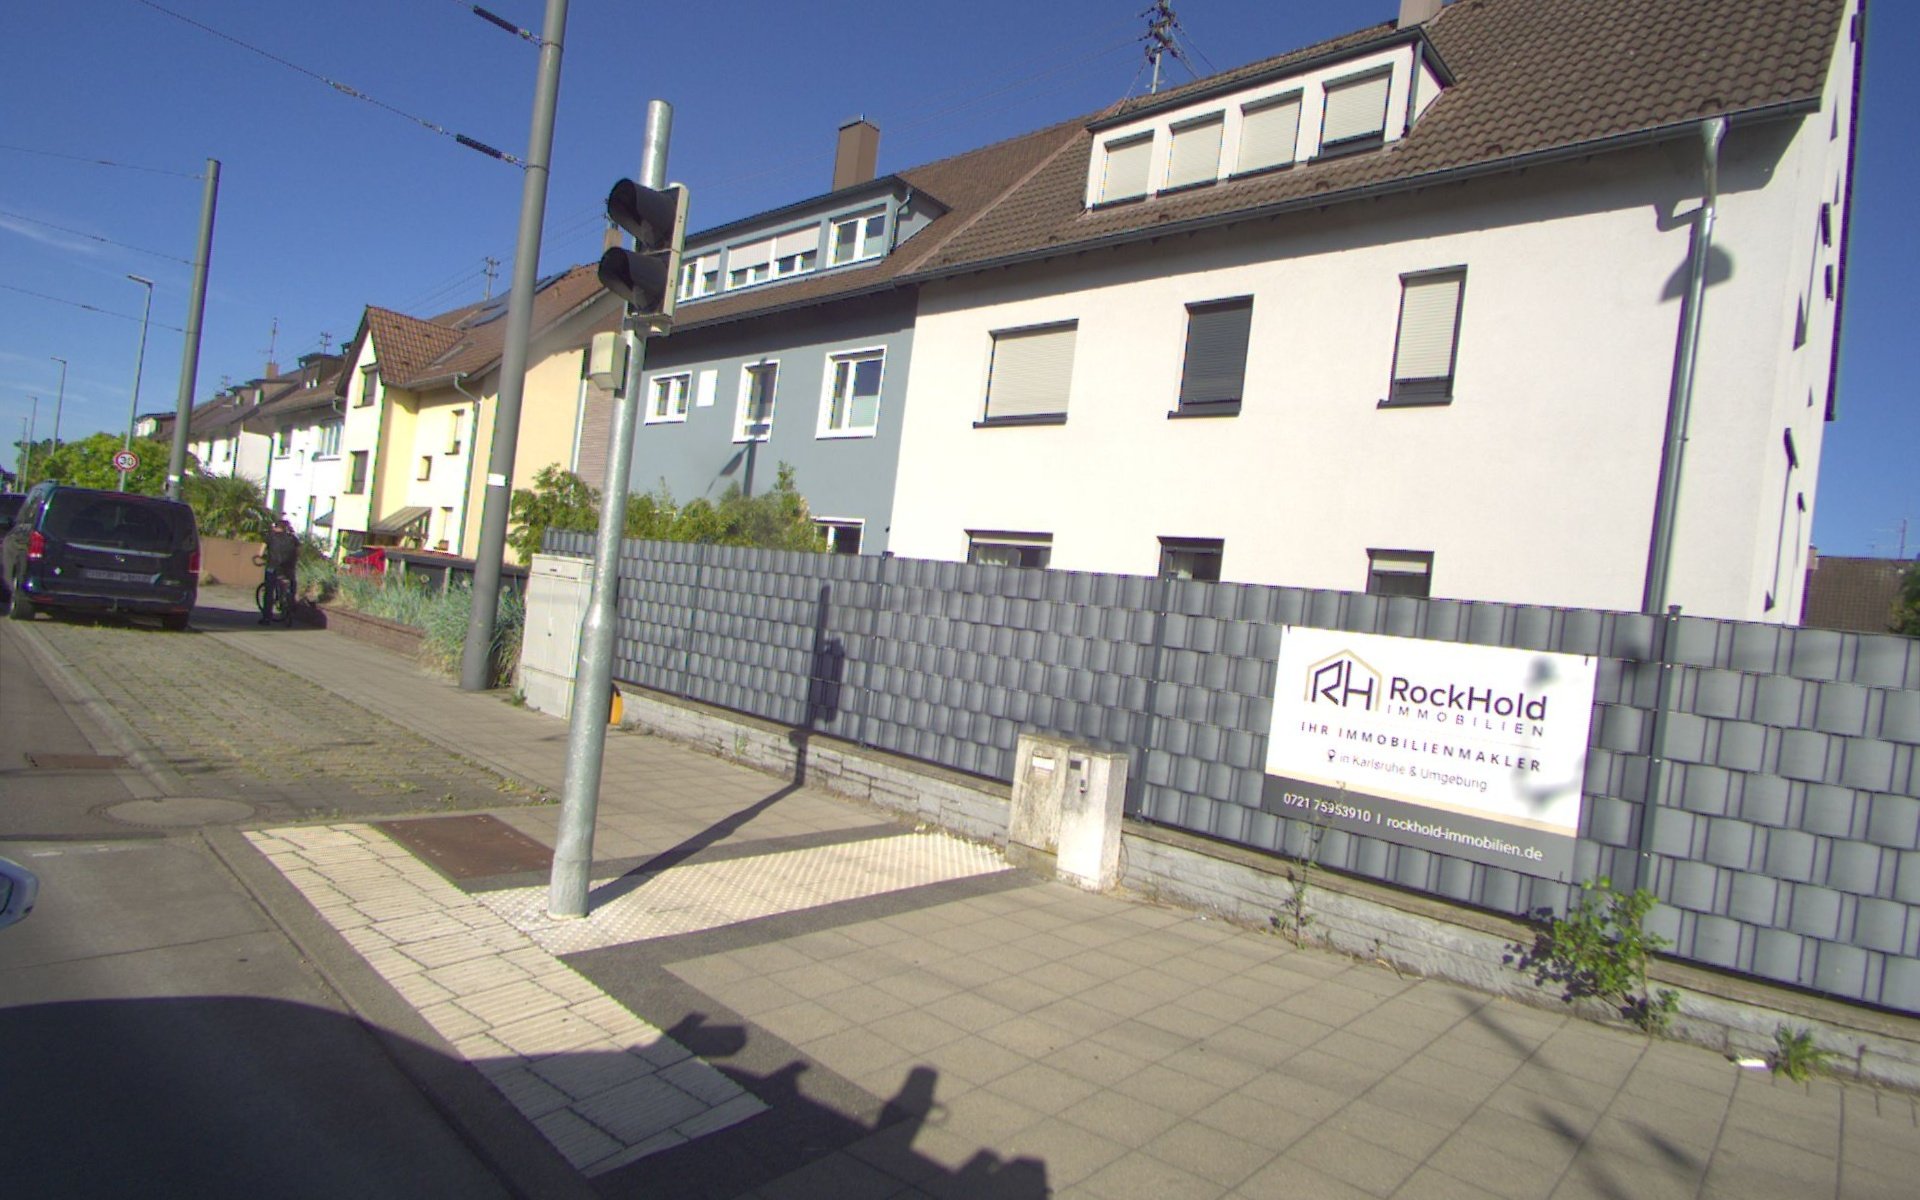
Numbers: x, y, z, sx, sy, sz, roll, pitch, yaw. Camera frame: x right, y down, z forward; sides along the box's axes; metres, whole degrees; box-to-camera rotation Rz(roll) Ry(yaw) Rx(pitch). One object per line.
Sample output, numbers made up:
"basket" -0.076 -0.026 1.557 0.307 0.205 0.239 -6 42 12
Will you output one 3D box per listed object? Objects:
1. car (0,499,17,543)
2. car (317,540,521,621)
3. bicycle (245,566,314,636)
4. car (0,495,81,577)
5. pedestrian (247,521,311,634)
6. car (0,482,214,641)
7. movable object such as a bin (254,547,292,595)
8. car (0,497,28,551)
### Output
"car" -35.042 -2.953 35.873 4.389 1.493 1.613 6 -1 42
"car" -13.853 -0.478 25.953 1.874 1.485 4.159 8 0 42
"bicycle" -11.073 -0.001 16.345 0.599 0.992 1.542 5 0 -45
"car" -22.800 -1.634 24.269 4.413 1.679 1.851 6 -1 43
"pedestrian" -11.113 -0.368 16.419 0.705 1.744 0.581 7 0 44
"car" -12.924 -0.640 14.981 4.861 1.858 1.958 6 -1 43
"movable object such as a bin" -17.149 -0.715 25.115 0.313 1.128 0.667 7 1 43
"car" -30.458 -2.487 31.495 3.786 1.567 1.661 6 1 45
